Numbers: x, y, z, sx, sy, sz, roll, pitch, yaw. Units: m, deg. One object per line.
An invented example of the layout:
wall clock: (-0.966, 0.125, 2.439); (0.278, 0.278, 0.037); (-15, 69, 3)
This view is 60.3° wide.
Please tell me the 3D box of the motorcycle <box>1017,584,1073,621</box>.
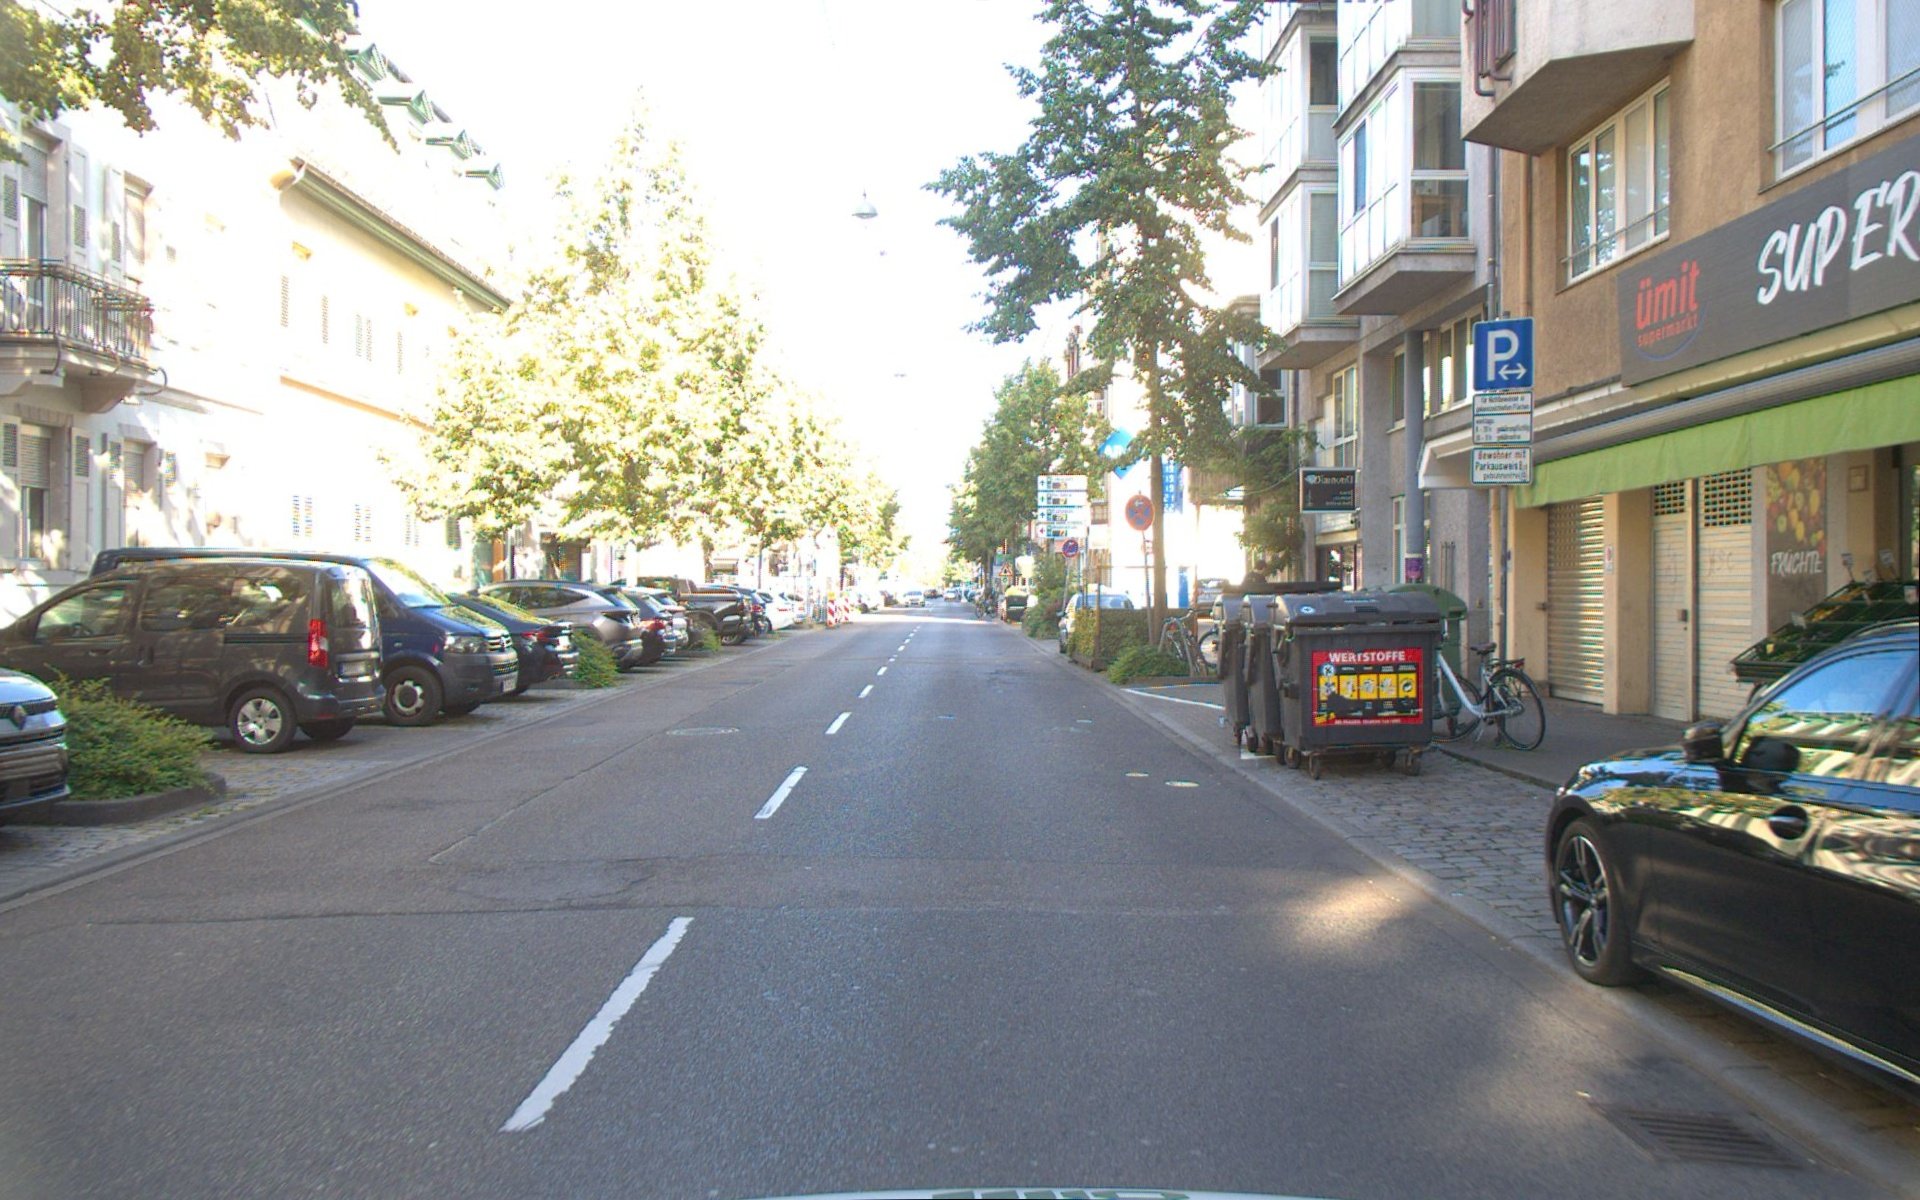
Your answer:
motorcycle: (3.272, 0.098, 63.724); (1.943, 1.353, 0.909); (-1, 1, -13)

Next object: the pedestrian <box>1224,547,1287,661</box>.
pedestrian: (5.212, 0.071, 29.124); (0.906, 1.969, 0.761); (-1, 0, 25)

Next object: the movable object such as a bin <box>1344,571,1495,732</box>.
movable object such as a bin: (4.381, 0.465, 15.875); (1.055, 1.456, 1.295); (-1, 0, 0)

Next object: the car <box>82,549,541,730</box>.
car: (-7.443, 0.436, 19.318); (4.584, 1.984, 1.917); (0, 0, 1)

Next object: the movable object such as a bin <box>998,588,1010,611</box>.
movable object such as a bin: (2.427, -0.035, 91.167); (0.609, 1.200, 0.711); (-1, 1, -3)

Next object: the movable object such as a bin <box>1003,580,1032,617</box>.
movable object such as a bin: (2.584, -0.076, 74.051); (1.118, 1.589, 1.460); (-1, 0, 8)

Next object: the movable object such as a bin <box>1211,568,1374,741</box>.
movable object such as a bin: (3.157, 0.494, 15.857); (1.303, 1.569, 1.146); (-1, 0, -1)

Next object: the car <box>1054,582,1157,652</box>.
car: (3.287, 0.349, 38.261); (1.862, 1.436, 4.646); (-3, 1, -1)

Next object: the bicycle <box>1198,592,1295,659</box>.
bicycle: (5.160, 0.450, 29.879); (0.676, 1.169, 1.659); (-1, 1, -42)

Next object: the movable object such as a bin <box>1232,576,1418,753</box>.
movable object such as a bin: (3.214, 0.540, 14.694); (1.370, 1.479, 1.146); (-1, 0, -1)

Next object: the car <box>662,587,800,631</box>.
car: (-7.867, 0.296, 57.114); (4.587, 1.490, 1.807); (0, 0, -4)

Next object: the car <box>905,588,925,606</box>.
car: (-4.077, -0.296, 150.045); (1.766, 1.460, 4.408); (-3, 1, -1)

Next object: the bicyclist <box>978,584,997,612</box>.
bicyclist: (1.589, -0.130, 94.461); (0.751, 1.587, 1.041); (-1, 0, 21)

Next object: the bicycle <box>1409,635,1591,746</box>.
bicycle: (4.654, 0.762, 14.371); (0.561, 0.887, 1.630); (-2, -1, -23)

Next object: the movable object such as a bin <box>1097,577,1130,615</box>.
movable object such as a bin: (6.509, -0.174, 70.161); (1.245, 1.557, 1.176); (-2, 0, -2)

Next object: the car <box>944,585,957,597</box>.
car: (-1.300, -1.219, 220.410); (1.756, 1.436, 4.000); (-1, 1, -1)

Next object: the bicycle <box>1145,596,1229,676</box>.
bicycle: (3.551, 0.541, 26.069); (0.597, 1.139, 2.051); (-8, 2, -9)

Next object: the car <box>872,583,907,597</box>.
car: (-8.190, -1.188, 192.544); (3.906, 1.526, 2.000); (-1, 1, -2)

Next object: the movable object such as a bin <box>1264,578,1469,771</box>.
movable object such as a bin: (3.292, 0.577, 13.532); (1.370, 1.479, 1.146); (-1, 0, -1)

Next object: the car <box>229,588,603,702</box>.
car: (-7.354, 0.588, 22.653); (4.551, 1.484, 1.683); (0, 0, -1)

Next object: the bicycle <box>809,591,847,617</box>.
bicycle: (-6.396, 0.192, 80.042); (1.819, 1.274, 0.599); (0, 0, -8)

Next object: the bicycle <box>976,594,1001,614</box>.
bicycle: (1.639, 0.234, 94.544); (0.751, 1.077, 1.956); (-1, 1, 21)

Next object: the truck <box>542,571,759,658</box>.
truck: (-7.613, 0.348, 41.082); (4.981, 1.972, 2.000); (-2, 0, -1)

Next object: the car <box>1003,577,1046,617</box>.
car: (3.019, -0.171, 78.373); (1.785, 1.708, 4.600); (-3, 1, 0)

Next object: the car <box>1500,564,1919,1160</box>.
car: (3.369, 0.664, 4.972); (1.785, 1.497, 4.911); (-3, 1, 0)

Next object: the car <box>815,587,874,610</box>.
car: (-7.792, -0.100, 111.965); (3.906, 1.414, 2.000); (-1, 1, -2)

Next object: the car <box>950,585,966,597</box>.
car: (-0.291, -1.116, 209.126); (1.785, 1.415, 4.300); (-3, 1, -1)

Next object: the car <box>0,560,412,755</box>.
car: (-7.944, 0.534, 16.365); (4.374, 1.803, 1.917); (0, 0, 1)

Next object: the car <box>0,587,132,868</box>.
car: (-7.523, 0.719, 9.703); (4.373, 1.568, 1.917); (0, 0, 3)

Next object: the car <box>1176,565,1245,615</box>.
car: (8.939, -0.374, 59.325); (1.861, 1.677, 4.294); (-2, 1, 1)

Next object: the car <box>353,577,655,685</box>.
car: (-7.636, 0.497, 27.991); (4.584, 1.742, 1.808); (0, 0, 1)

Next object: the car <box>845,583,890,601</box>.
car: (-8.268, -0.746, 147.636); (3.906, 1.526, 2.000); (-1, 1, -2)

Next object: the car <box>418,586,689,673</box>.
car: (-7.509, 0.529, 30.842); (4.584, 1.546, 1.808); (0, 0, 1)

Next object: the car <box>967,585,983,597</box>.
car: (1.861, -1.153, 211.246); (1.953, 1.534, 3.999); (0, 0, -1)

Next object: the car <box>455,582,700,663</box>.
car: (-7.774, 0.447, 33.921); (4.584, 1.599, 1.808); (0, 0, 1)

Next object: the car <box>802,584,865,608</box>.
car: (-8.073, -0.243, 106.172); (3.906, 1.414, 2.000); (-1, 1, -2)

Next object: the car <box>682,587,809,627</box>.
car: (-8.034, 0.256, 62.181); (4.587, 1.437, 1.807); (0, 0, -4)

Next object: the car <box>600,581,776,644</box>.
car: (-7.570, 0.342, 46.343); (4.584, 1.723, 1.808); (0, 0, 1)

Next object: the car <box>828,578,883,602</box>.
car: (-7.866, -0.735, 124.872); (3.903, 1.724, 2.001); (-1, 1, 4)

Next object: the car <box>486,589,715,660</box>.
car: (-7.816, 0.508, 36.203); (4.584, 1.488, 1.808); (0, 0, 1)

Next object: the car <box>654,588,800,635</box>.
car: (-7.628, 0.373, 54.430); (4.587, 1.490, 1.807); (0, 0, -4)

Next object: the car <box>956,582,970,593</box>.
car: (0.423, -1.708, 230.925); (1.953, 1.534, 3.999); (0, 0, -1)

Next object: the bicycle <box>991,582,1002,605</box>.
bicycle: (2.444, -0.414, 110.213); (0.549, 1.465, 1.628); (-7, 1, -1)

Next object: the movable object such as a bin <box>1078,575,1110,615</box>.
movable object such as a bin: (5.805, -0.223, 71.521); (1.181, 1.656, 1.497); (-2, 0, -2)
